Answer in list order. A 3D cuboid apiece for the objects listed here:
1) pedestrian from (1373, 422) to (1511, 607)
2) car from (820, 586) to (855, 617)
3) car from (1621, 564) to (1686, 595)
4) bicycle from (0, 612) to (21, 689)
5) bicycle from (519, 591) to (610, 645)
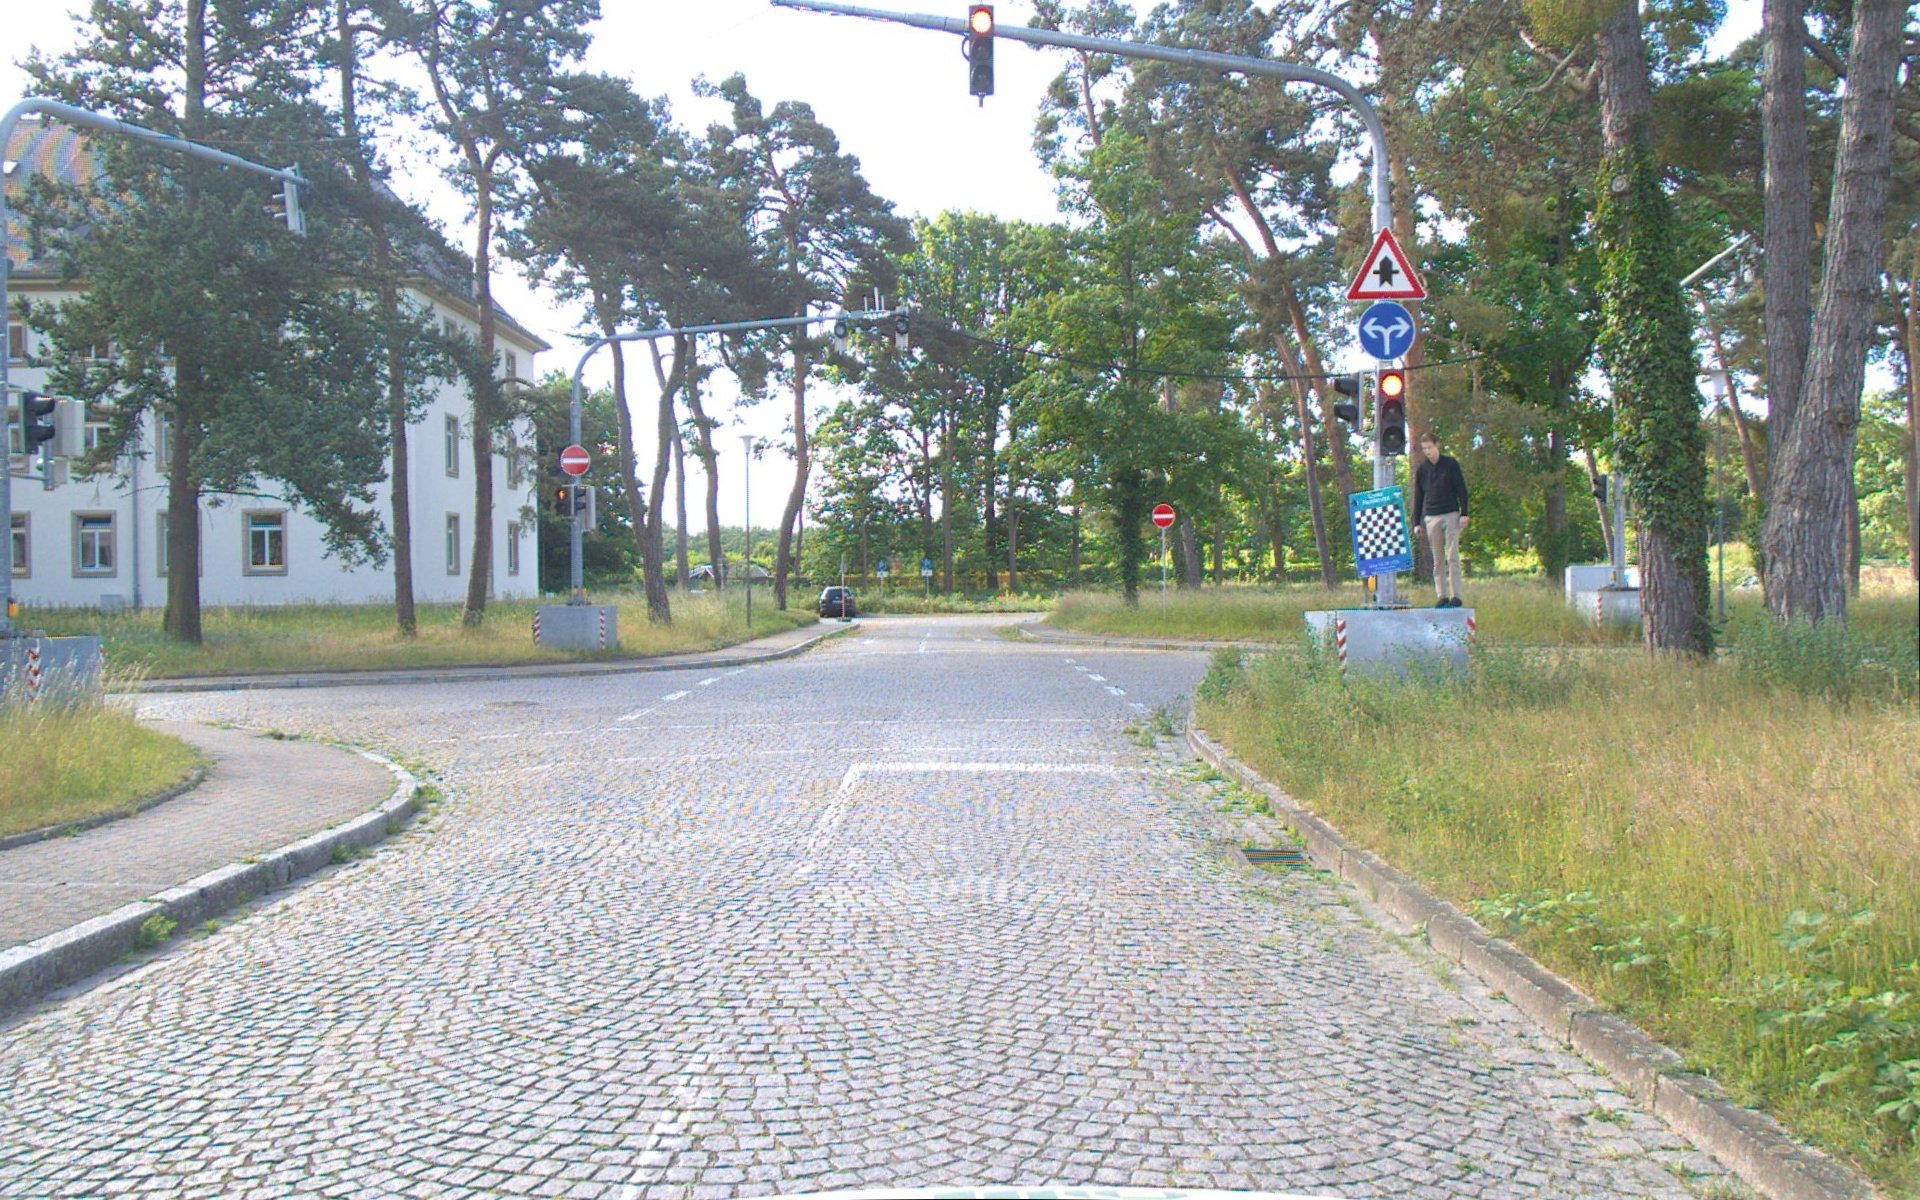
[{"bbox_3d":[5.034,-0.866,17.252,1.146,1.827,1.061,-1,1,29],"label":"pedestrian"},{"bbox_3d":[-6.259,0.040,84.820,1.675,1.522,3.917,-1,1,-3],"label":"car"},{"bbox_3d":[38.217,-1.128,91.226,1.790,1.609,4.162,-1,1,-1],"label":"car"},{"bbox_3d":[-16.634,0.843,27.338,1.824,1.242,0.635,-1,0,-1],"label":"bicycle"},{"bbox_3d":[-8.452,0.373,35.401,0.623,1.084,1.942,-1,1,38],"label":"bicycle"}]
